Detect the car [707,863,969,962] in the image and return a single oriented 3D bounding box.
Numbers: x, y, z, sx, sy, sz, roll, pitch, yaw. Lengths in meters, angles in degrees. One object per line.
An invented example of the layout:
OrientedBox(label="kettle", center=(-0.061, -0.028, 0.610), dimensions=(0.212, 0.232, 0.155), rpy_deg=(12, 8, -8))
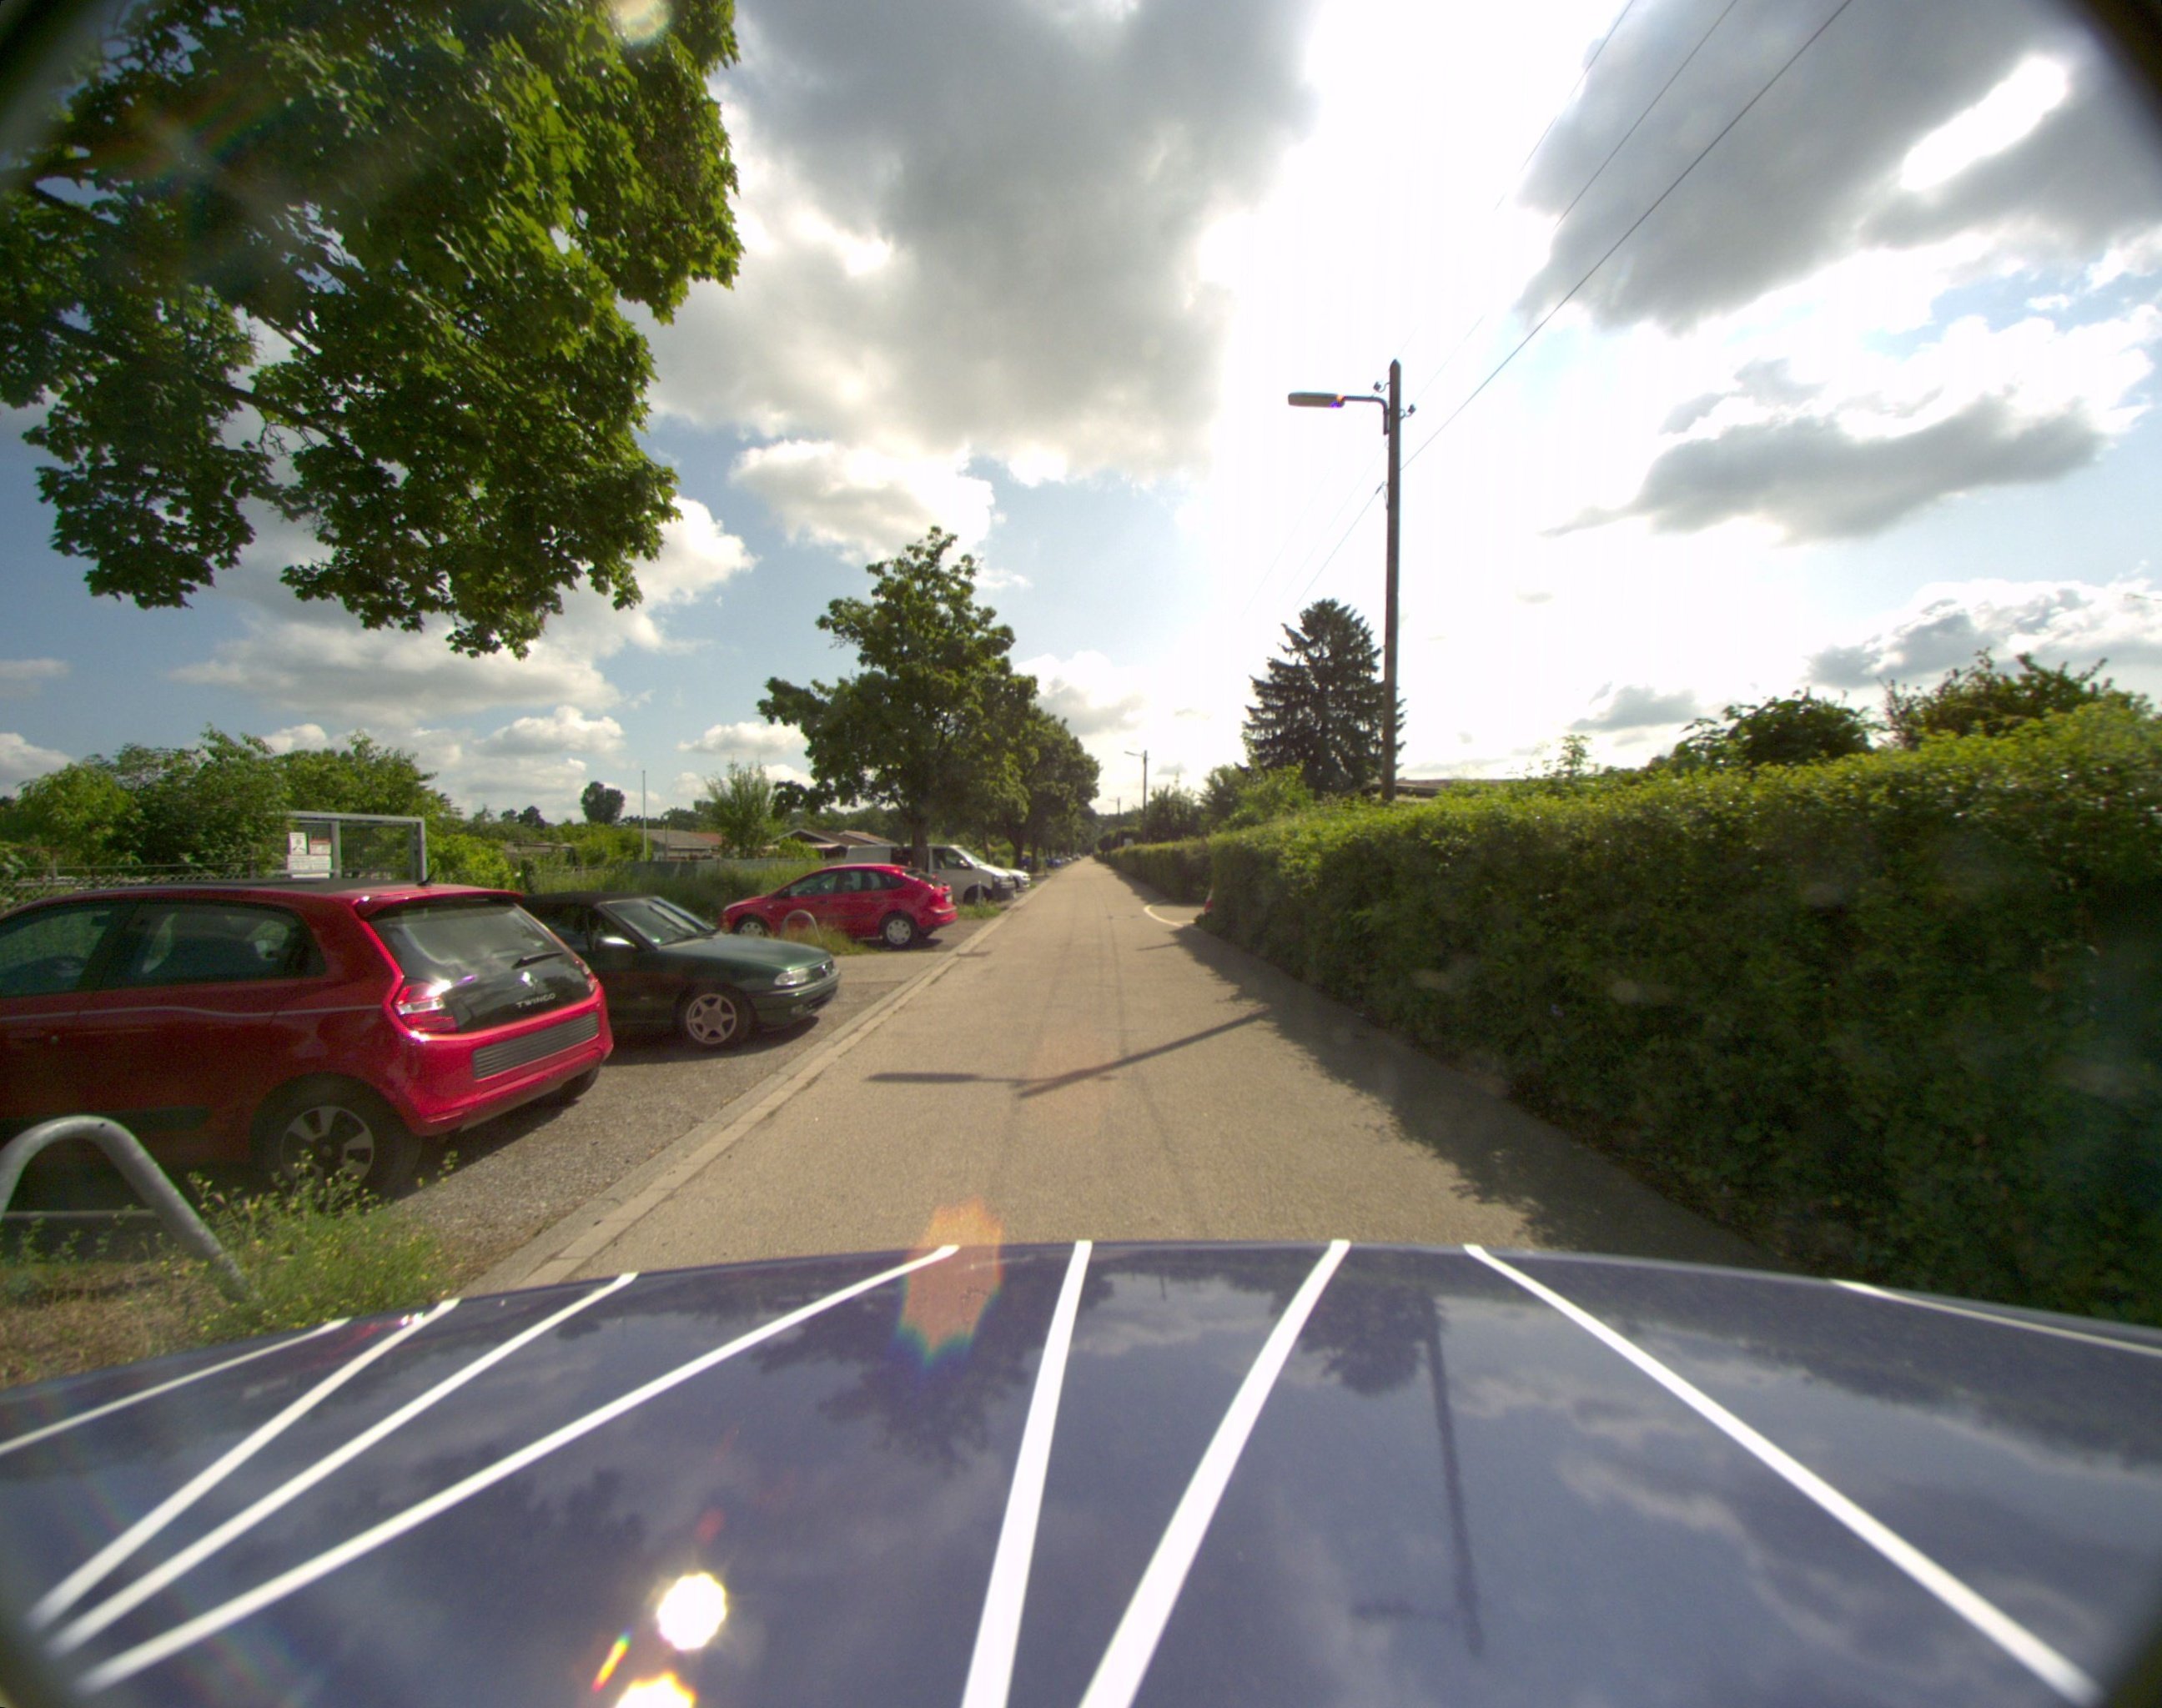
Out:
OrientedBox(label="car", center=(-4.394, 1.038, 14.200), dimensions=(4.193, 1.495, 1.878), rpy_deg=(-3, 1, 2))

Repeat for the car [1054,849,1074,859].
OrientedBox(label="car", center=(-3.335, -0.067, 148.877), dimensions=(3.929, 1.740, 2.000), rpy_deg=(-3, 1, 0))

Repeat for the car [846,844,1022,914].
OrientedBox(label="car", center=(-4.100, 0.674, 21.841), dimensions=(4.646, 1.875, 2.111), rpy_deg=(0, 0, -1))

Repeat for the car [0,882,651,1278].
OrientedBox(label="car", center=(-4.873, 1.078, 4.258), dimensions=(3.773, 1.565, 1.869), rpy_deg=(-3, 1, 0))

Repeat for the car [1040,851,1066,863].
OrientedBox(label="car", center=(-4.407, 0.463, 120.281), dimensions=(3.929, 1.740, 2.000), rpy_deg=(-3, 1, 0))

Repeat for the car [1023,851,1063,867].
OrientedBox(label="car", center=(-4.020, 0.561, 80.220), dimensions=(4.116, 1.573, 1.780), rpy_deg=(-1, 0, -1))

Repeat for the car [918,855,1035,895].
OrientedBox(label="car", center=(-4.239, 0.847, 31.548), dimensions=(4.590, 1.457, 1.999), rpy_deg=(-2, 0, -3))

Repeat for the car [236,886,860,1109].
OrientedBox(label="car", center=(-4.452, 1.165, 6.980), dimensions=(4.250, 1.420, 1.907), rpy_deg=(-3, 1, -3))

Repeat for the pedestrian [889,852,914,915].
OrientedBox(label="pedestrian", center=(-4.856, 0.790, 20.568), dimensions=(0.524, 1.664, 0.474), rpy_deg=(0, 2, 1))
